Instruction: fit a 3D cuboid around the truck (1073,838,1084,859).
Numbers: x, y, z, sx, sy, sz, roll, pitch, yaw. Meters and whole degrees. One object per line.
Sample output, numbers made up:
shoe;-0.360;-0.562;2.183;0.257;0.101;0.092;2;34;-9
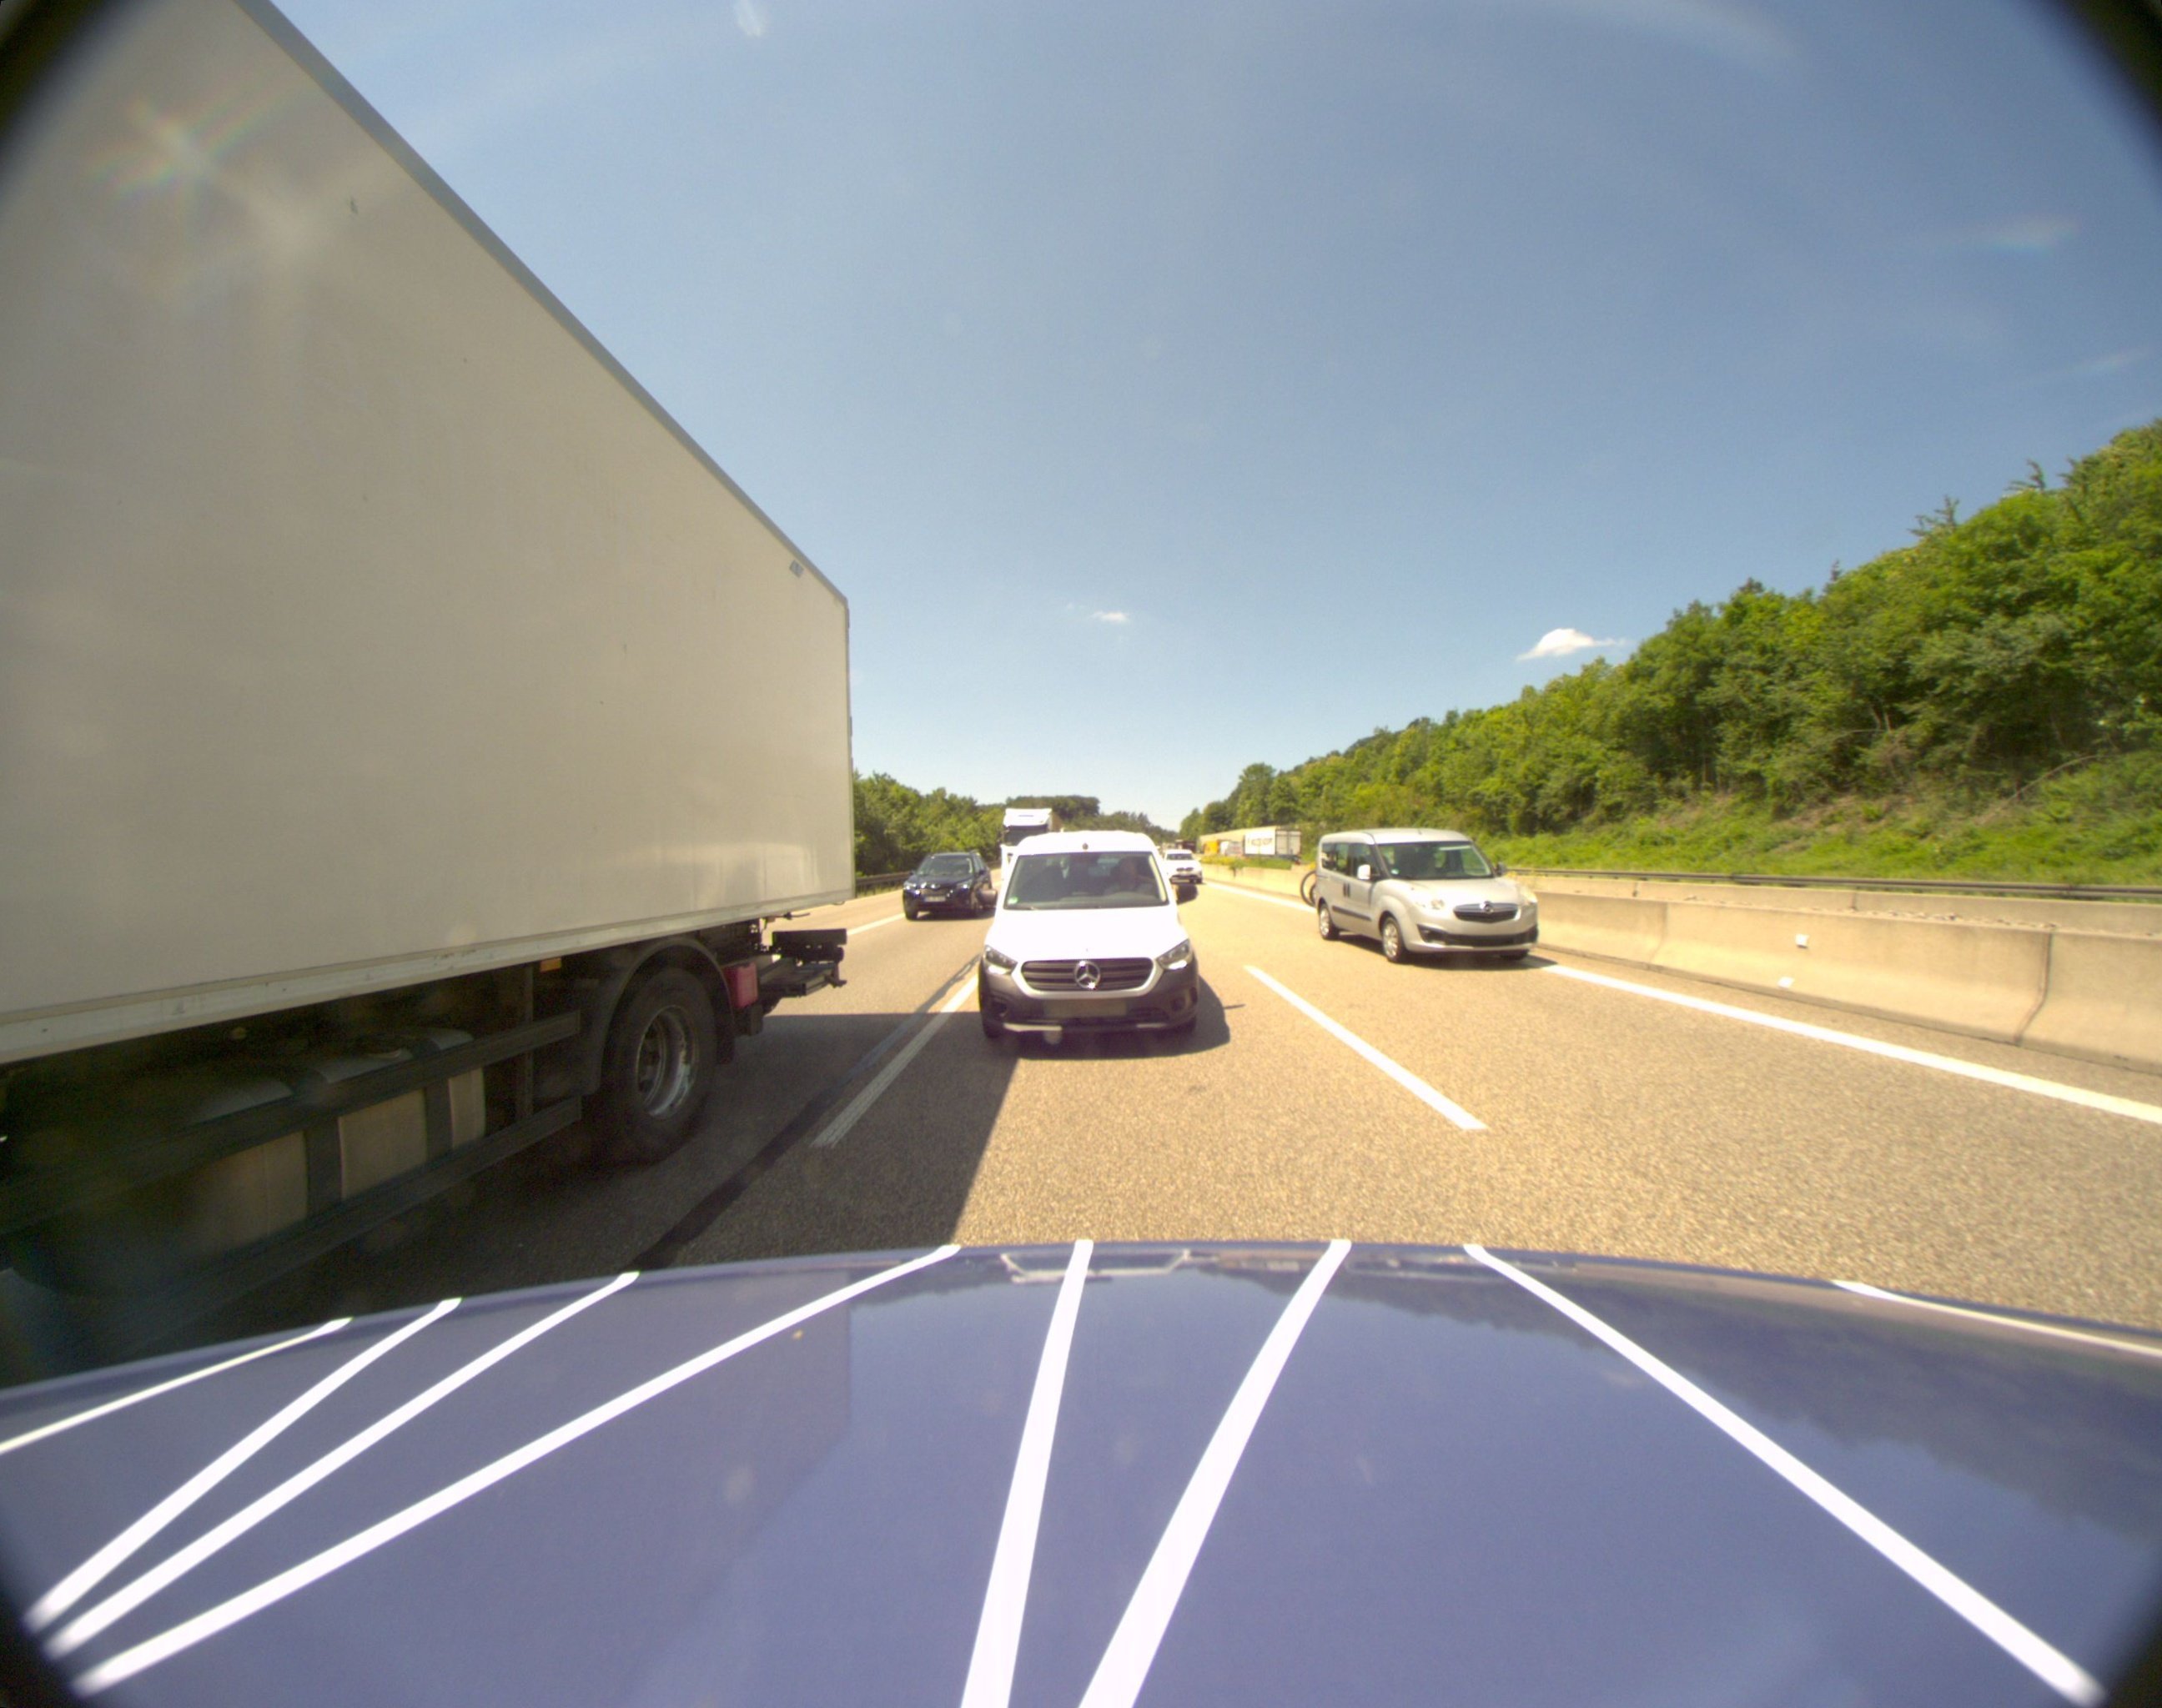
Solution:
truck;-0.486;-1.133;155.290;2.187;4.073;10.869;-2;0;0

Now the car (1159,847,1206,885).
car;5.011;0.555;38.044;1.824;1.696;3.999;-2;1;1

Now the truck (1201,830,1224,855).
truck;25.131;-2.238;145.870;3.099;4.519;7.093;-2;1;1

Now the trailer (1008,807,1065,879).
trailer;-2.663;-0.725;49.046;2.766;4.060;11.615;0;1;1

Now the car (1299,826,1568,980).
car;4.891;0.539;11.482;1.857;1.762;4.917;-2;1;2

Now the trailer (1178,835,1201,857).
trailer;21.657;-1.583;151.983;3.443;4.170;7.896;-2;1;1

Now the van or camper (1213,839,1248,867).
van or camper;16.531;-0.184;84.422;2.400;2.859;6.710;-2;1;0

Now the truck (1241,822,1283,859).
truck;20.348;-1.499;85.757;2.947;3.897;7.215;-2;1;0

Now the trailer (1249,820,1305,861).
trailer;20.264;-1.396;79.368;3.004;3.849;11.398;-2;1;1

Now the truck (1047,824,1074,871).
truck;-2.014;-0.579;78.342;2.394;4.437;10.869;-2;0;0

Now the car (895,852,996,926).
car;-3.504;0.829;20.523;1.999;1.682;4.609;-1;1;-2

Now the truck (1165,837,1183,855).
truck;24.912;-2.085;204.679;3.277;4.518;14.101;-2;0;1

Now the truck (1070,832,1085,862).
truck;-0.499;-1.008;121.695;2.187;4.437;10.869;-2;0;0

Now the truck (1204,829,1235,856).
truck;25.005;-2.099;138.142;3.099;4.519;14.097;-2;1;1

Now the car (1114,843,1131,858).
car;5.969;-0.533;109.602;1.999;2.002;3.999;-1;1;-1

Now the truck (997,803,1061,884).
truck;-2.758;-0.613;42.639;2.766;4.061;7.333;-2;1;2

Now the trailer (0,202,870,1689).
trailer;-3.362;0.184;3.199;2.562;2.882;7.882;-2;0;1

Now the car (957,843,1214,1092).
car;0.071;0.776;7.543;1.756;1.681;4.363;-2;1;1

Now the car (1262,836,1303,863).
car;15.676;-0.361;59.283;1.999;2.002;3.999;-2;1;-1

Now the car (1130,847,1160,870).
car;5.364;0.353;64.025;1.999;1.747;3.998;-2;1;-2
